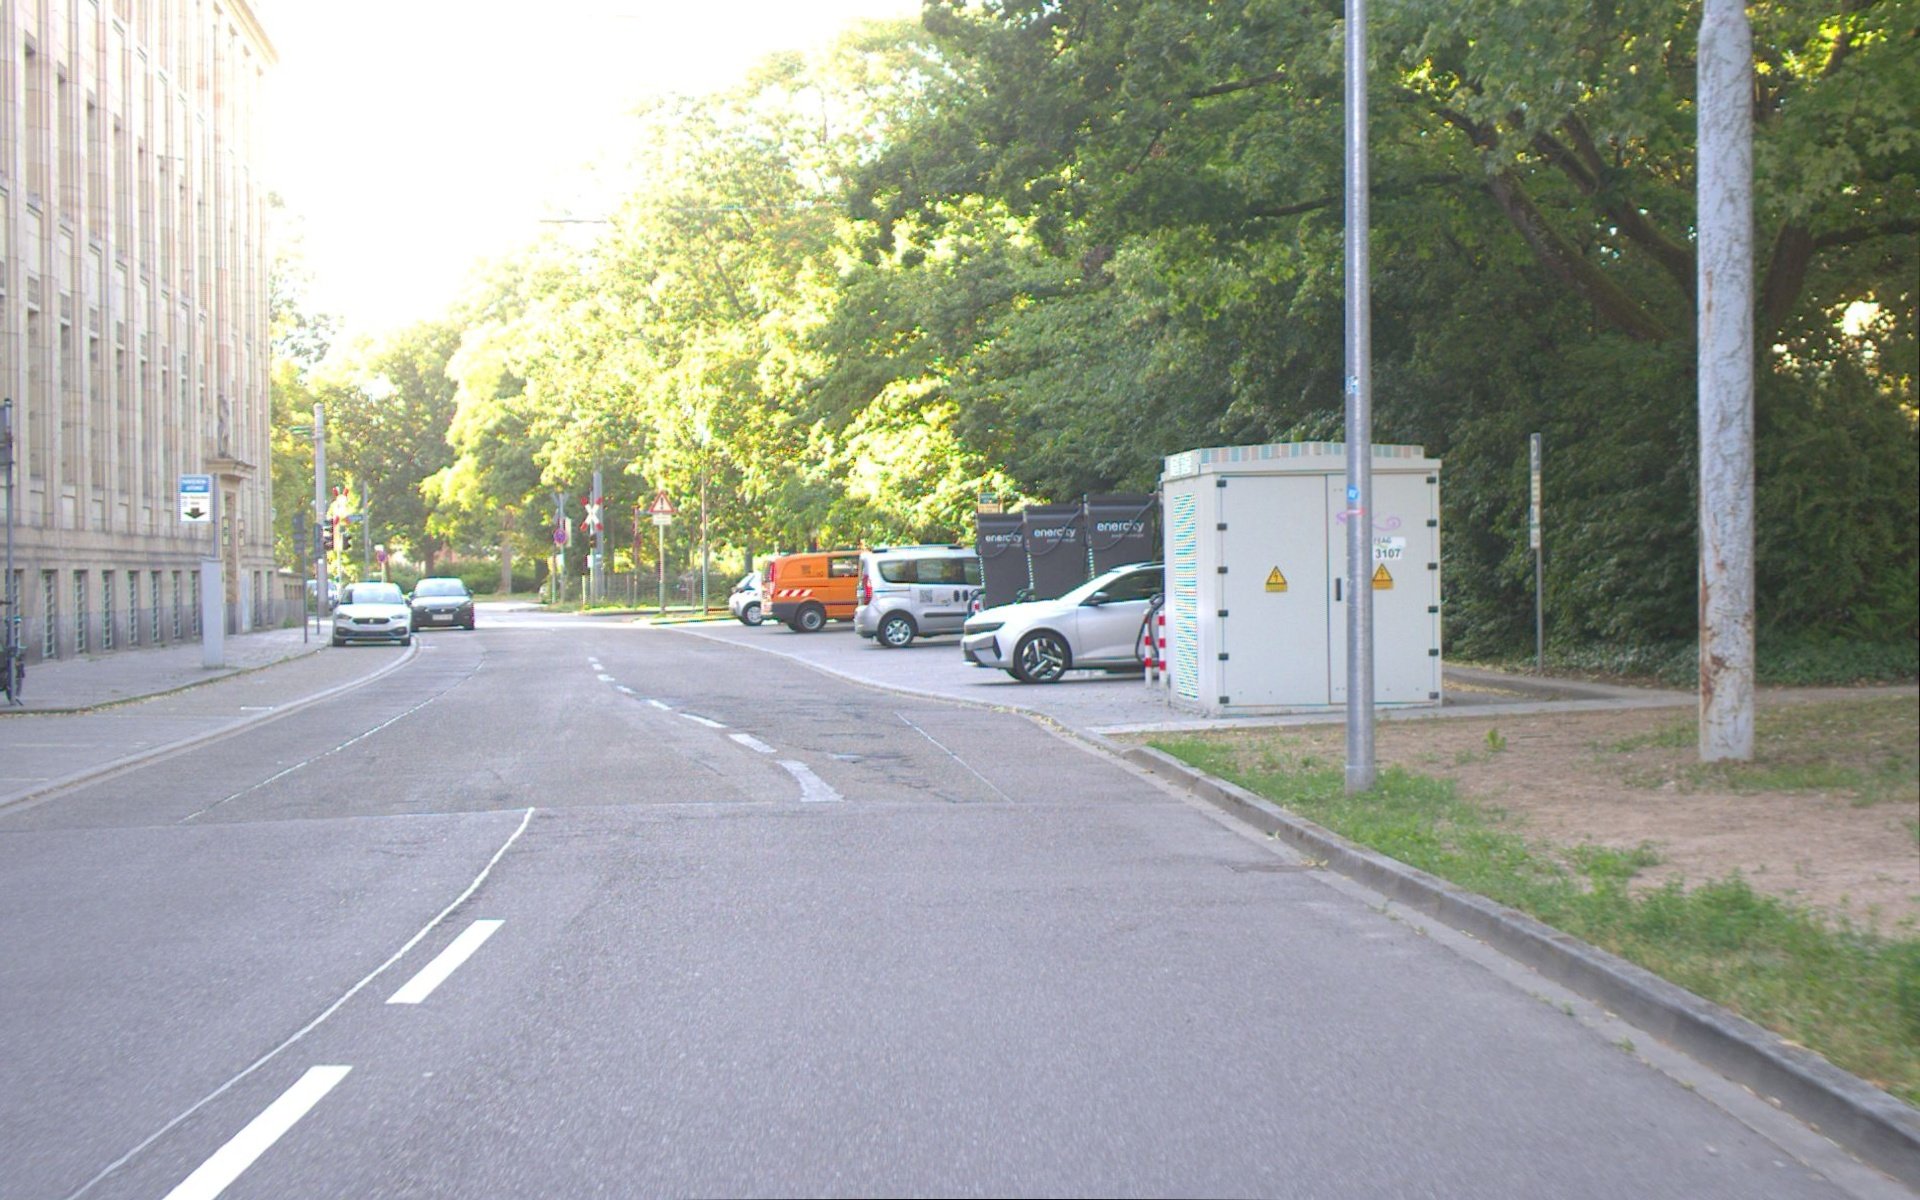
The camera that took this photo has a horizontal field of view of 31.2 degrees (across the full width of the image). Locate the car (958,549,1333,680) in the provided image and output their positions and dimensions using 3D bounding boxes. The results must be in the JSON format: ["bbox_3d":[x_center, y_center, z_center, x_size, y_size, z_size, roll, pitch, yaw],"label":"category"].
[{"bbox_3d":[2.307,0.165,43.393,4.440,1.464,1.783,-2,1,-7],"label":"car"}]

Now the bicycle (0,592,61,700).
[{"bbox_3d":[-10.296,0.477,36.857,0.852,1.098,1.982,1,0,-2],"label":"bicycle"}]

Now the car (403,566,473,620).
[{"bbox_3d":[-14.804,-0.216,97.383,1.878,1.461,4.374,-1,1,-9],"label":"car"}]

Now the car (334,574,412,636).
[{"bbox_3d":[-13.633,0.095,80.014,1.727,1.392,4.374,-1,0,-9],"label":"car"}]

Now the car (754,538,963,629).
[{"bbox_3d":[-2.514,-0.418,84.657,4.817,2.007,1.802,-3,1,-13],"label":"car"}]

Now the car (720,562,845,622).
[{"bbox_3d":[-4.890,-0.215,94.670,3.143,1.498,1.541,-3,1,-13],"label":"car"}]

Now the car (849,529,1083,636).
[{"bbox_3d":[0.092,-0.327,65.506,4.228,1.853,2.000,-2,0,-5],"label":"car"}]
